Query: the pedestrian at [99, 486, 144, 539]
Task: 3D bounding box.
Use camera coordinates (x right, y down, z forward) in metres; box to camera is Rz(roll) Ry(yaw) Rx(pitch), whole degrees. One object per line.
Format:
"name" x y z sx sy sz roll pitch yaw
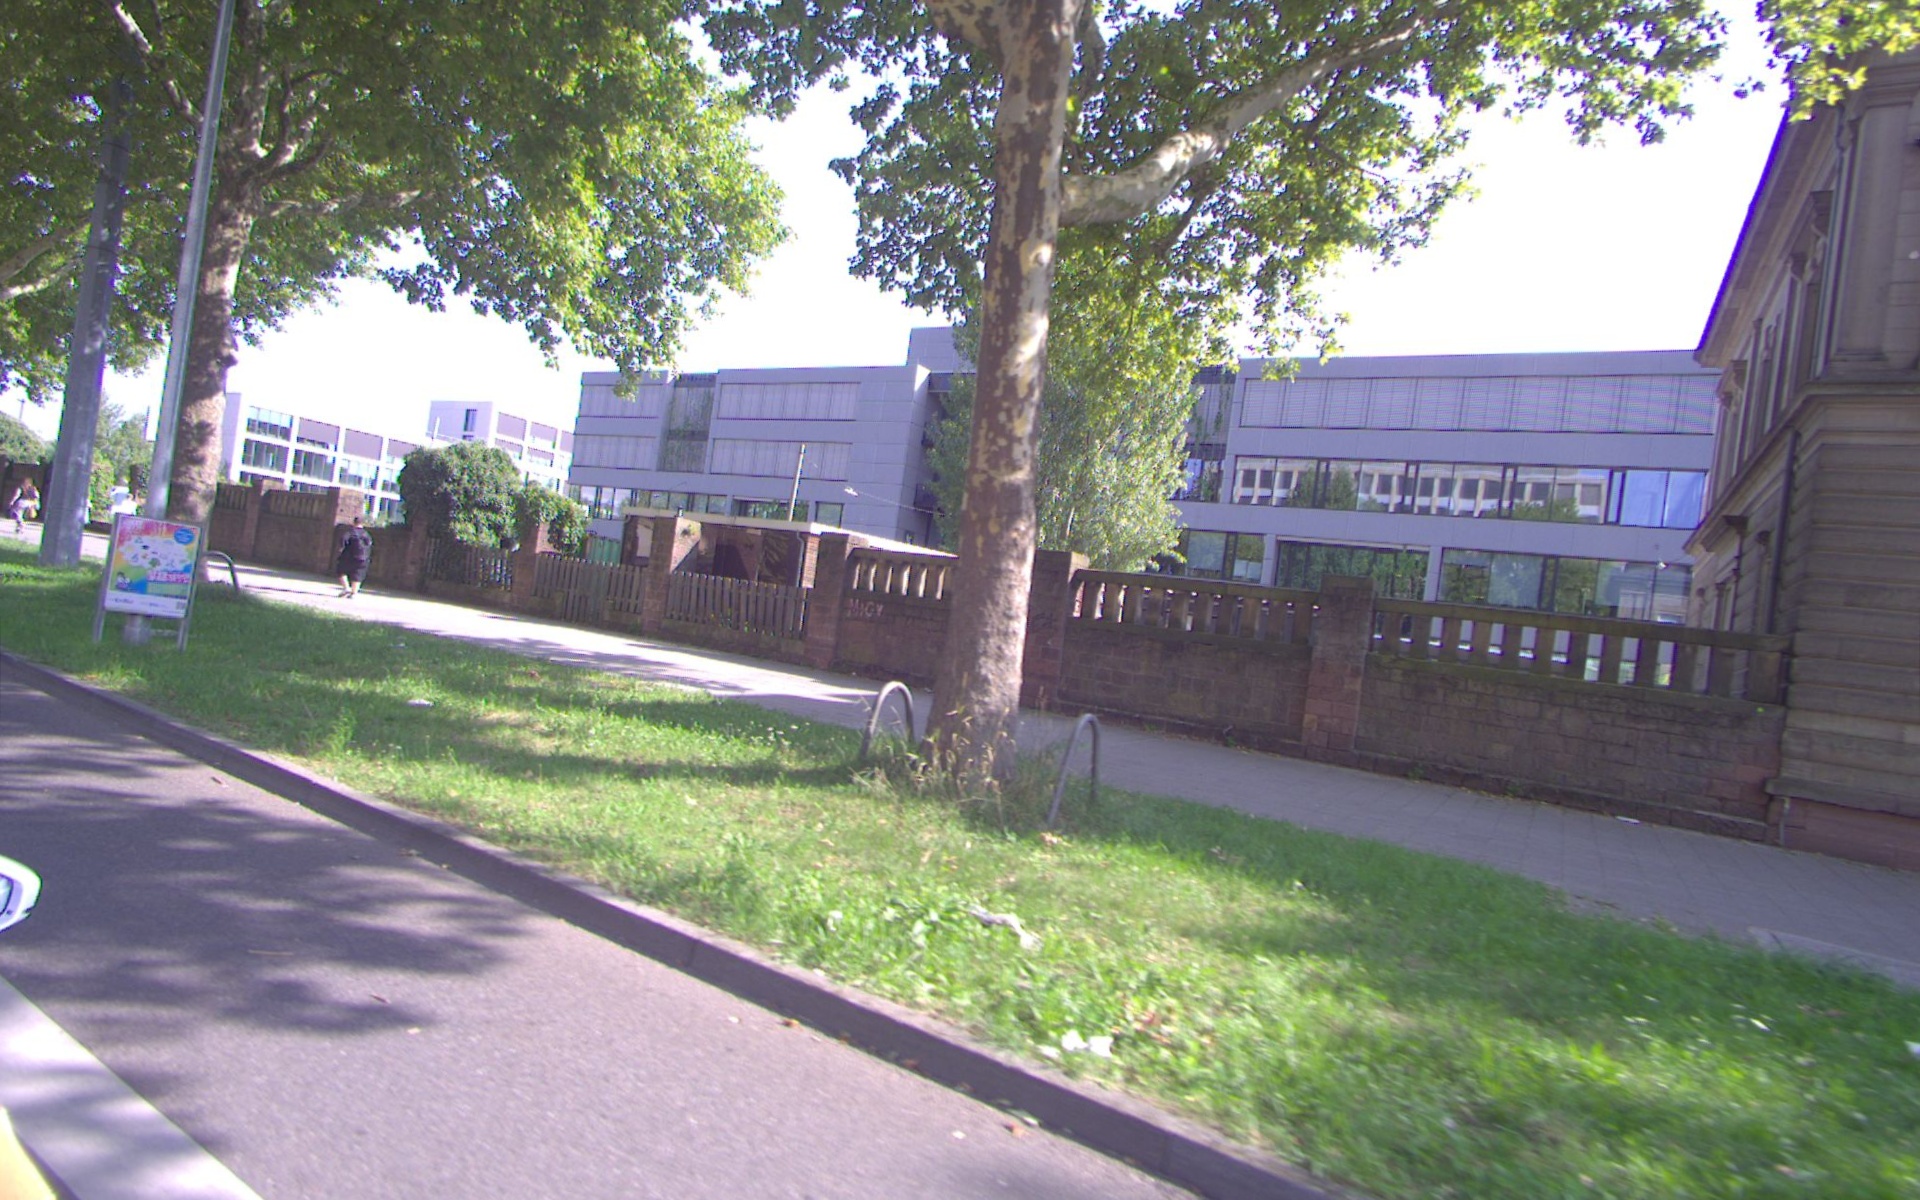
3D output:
"pedestrian" -28.443 -2.960 34.116 0.931 1.624 0.807 7 1 32

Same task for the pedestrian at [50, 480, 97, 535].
"pedestrian" -29.155 -3.041 33.087 0.931 1.624 0.807 7 1 32

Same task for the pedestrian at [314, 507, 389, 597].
"pedestrian" -12.672 -1.002 20.953 0.995 1.707 0.820 8 1 32

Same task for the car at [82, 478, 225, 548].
"car" -37.865 -4.051 47.368 2.022 2.344 4.673 7 -2 31

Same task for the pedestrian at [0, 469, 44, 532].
"pedestrian" -27.310 -2.884 29.141 0.931 1.657 0.807 8 1 32
